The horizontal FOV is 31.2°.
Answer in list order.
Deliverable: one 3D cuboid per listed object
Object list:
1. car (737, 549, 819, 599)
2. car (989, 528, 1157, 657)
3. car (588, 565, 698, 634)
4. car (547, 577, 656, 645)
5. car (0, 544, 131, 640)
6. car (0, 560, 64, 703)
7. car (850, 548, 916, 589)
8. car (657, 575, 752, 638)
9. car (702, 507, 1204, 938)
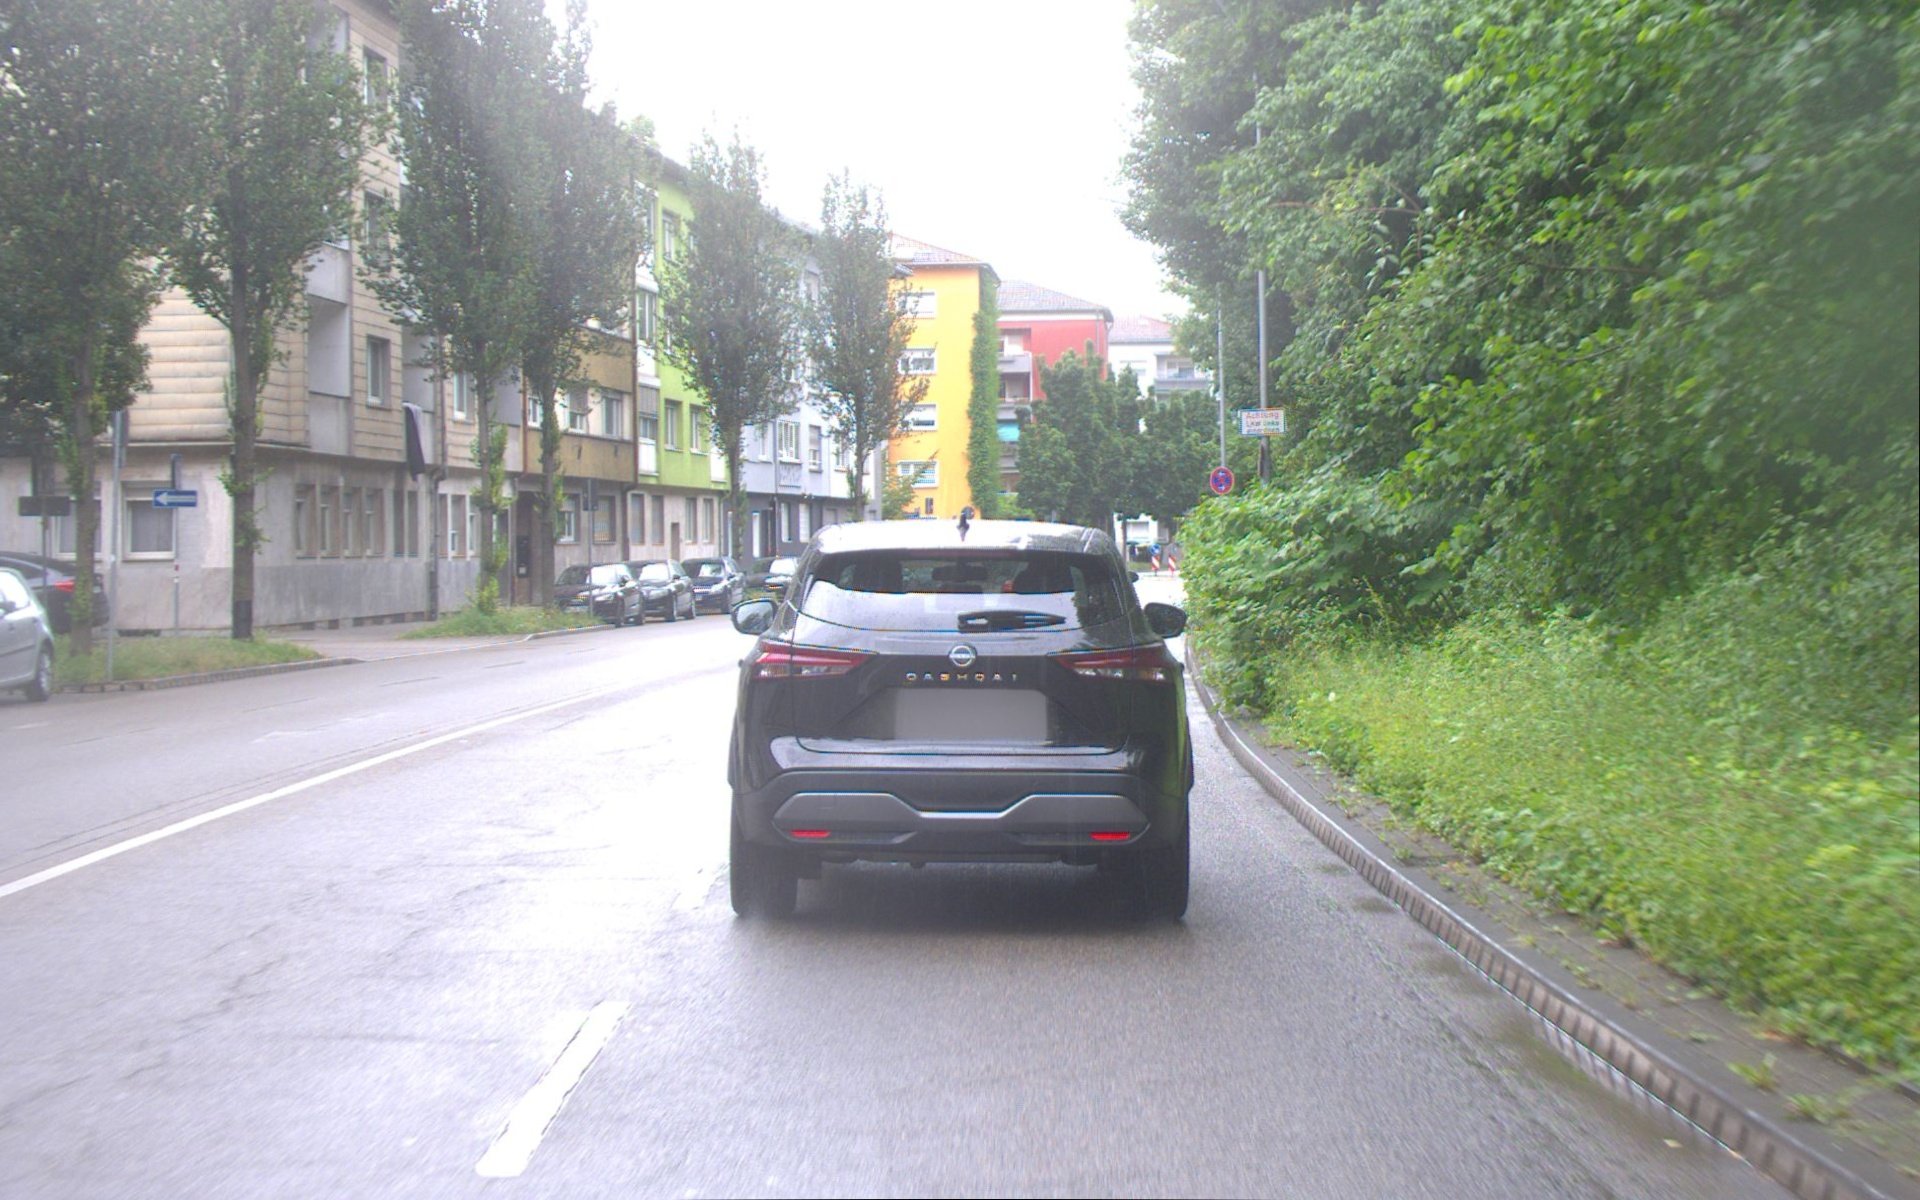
[{"bbox_3d":[-5.367,-0.785,102.098,1.817,1.367,4.680,-2,1,4],"label":"car"},{"bbox_3d":[1.613,-0.129,47.724,1.887,1.705,3.999,0,1,8],"label":"car"},{"bbox_3d":[-7.491,-0.028,81.687,1.817,1.483,4.789,-2,1,4],"label":"car"},{"bbox_3d":[-7.808,0.223,75.202,1.626,1.382,3.988,-1,1,5],"label":"car"},{"bbox_3d":[-16.527,-0.139,58.783,4.150,1.573,1.926,-1,1,5],"label":"car"},{"bbox_3d":[-10.616,0.332,35.182,1.724,1.448,4.205,-1,1,1],"label":"car"},{"bbox_3d":[-2.811,-1.161,125.851,1.689,1.353,4.578,-3,1,7],"label":"car"},{"bbox_3d":[-6.694,0.152,90.429,1.718,1.483,4.514,-2,1,5],"label":"car"},{"bbox_3d":[-0.041,0.419,14.818,1.845,1.577,4.000,1,1,0],"label":"car"}]
